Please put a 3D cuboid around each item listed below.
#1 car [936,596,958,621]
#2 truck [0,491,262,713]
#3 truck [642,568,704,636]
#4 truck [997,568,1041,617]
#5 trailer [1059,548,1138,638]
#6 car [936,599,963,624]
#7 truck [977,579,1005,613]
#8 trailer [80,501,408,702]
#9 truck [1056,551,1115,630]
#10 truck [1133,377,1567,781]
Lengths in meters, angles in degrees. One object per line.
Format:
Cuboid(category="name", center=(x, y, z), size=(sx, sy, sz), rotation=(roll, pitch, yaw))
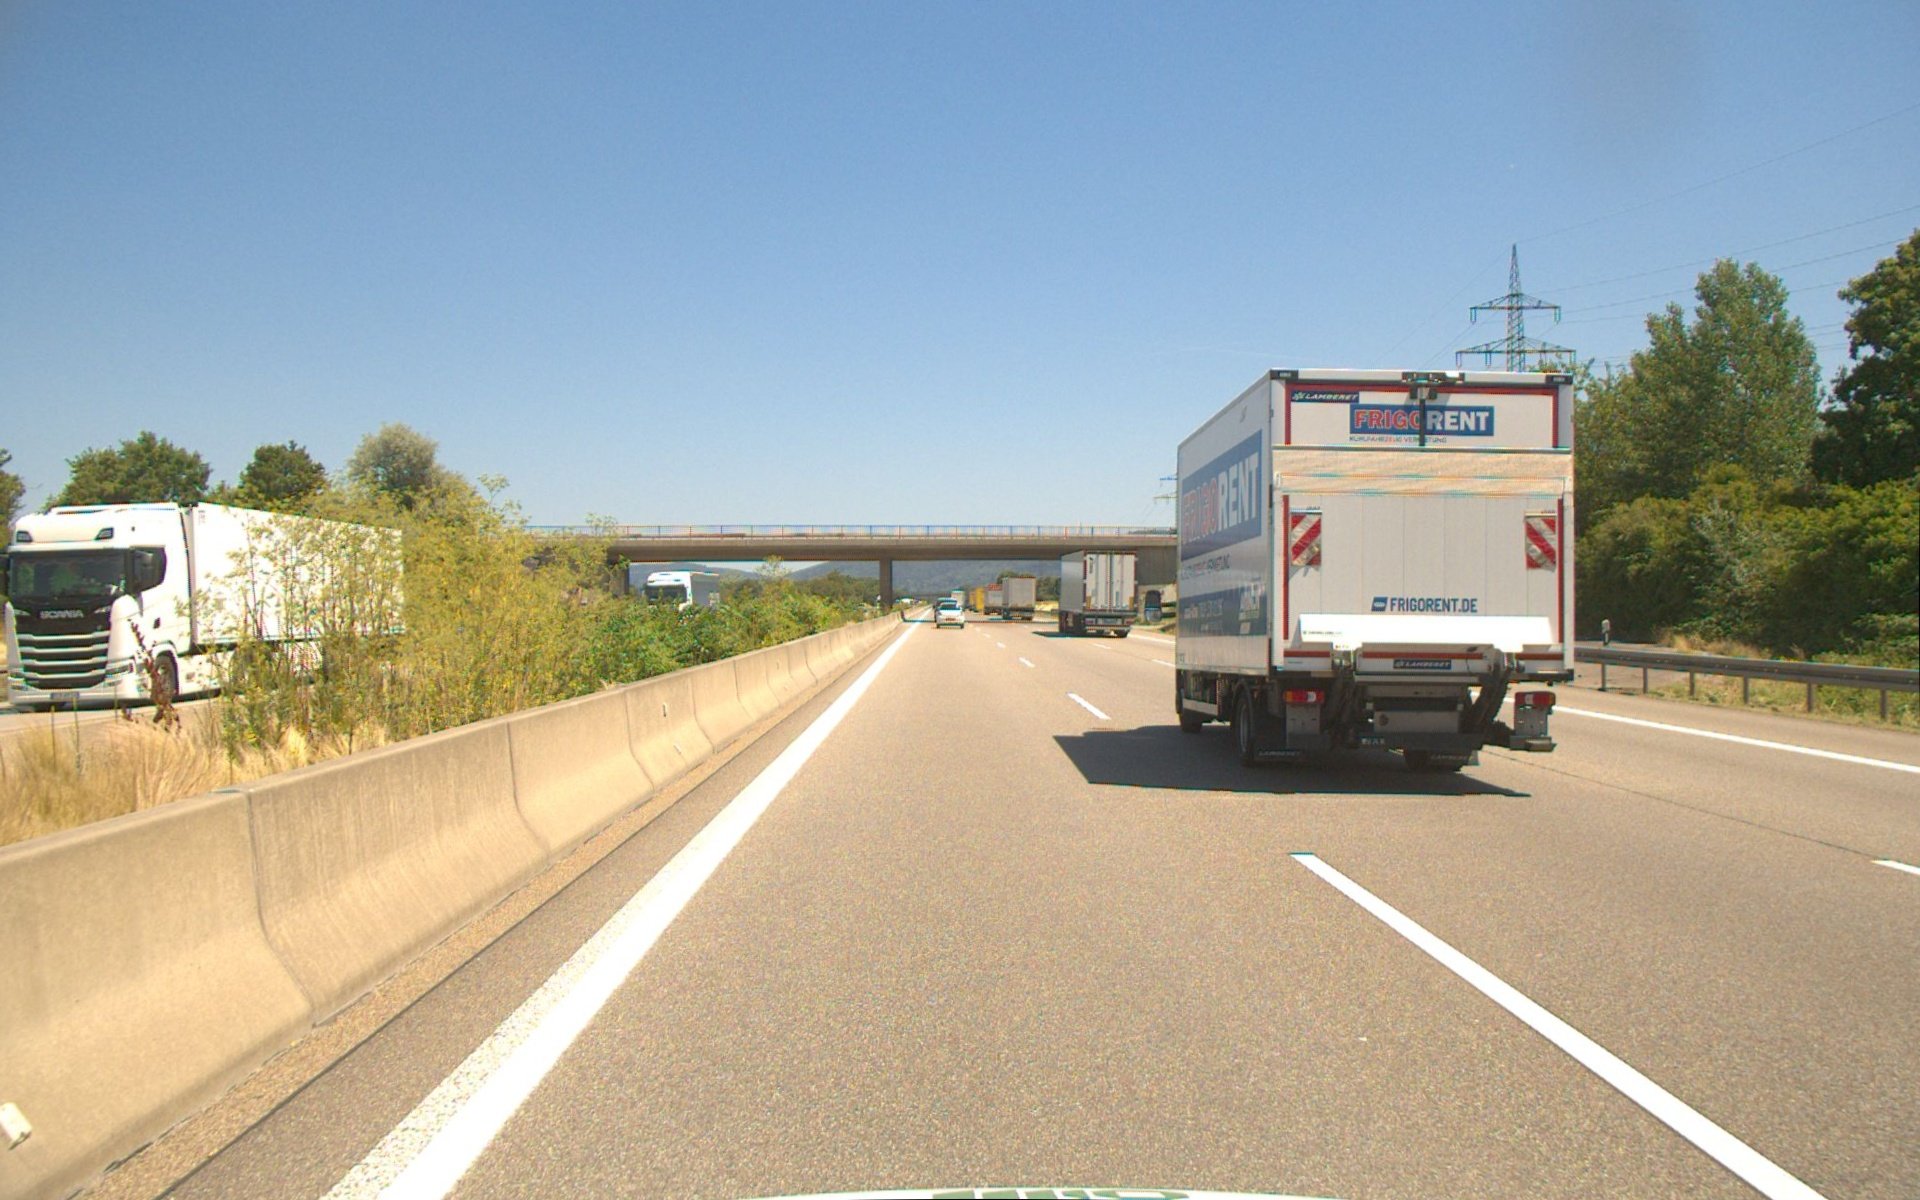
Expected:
Cuboid(category="car", center=(-1.019, 0.666, 130.863), size=(1.724, 1.883, 4.000), rotation=(0, 0, 0))
Cuboid(category="truck", center=(-16.845, 0.031, 33.898), size=(2.626, 4.085, 5.754), rotation=(-2, 0, -1))
Cuboid(category="truck", center=(-17.737, 0.133, 102.475), size=(2.777, 4.007, 5.823), rotation=(-2, 0, -1))
Cuboid(category="truck", center=(5.629, -0.679, 161.214), size=(3.449, 4.493, 14.588), rotation=(-1, 0, -1))
Cuboid(category="trailer", center=(6.943, -0.318, 84.760), size=(2.738, 4.237, 13.954), rotation=(0, 0, 0))
Cuboid(category="car", center=(-0.612, 0.686, 99.824), size=(1.574, 1.493, 4.000), rotation=(0, 0, 0))
Cuboid(category="truck", center=(4.249, -0.491, 229.649), size=(3.449, 4.493, 14.588), rotation=(-1, 0, -1))
Cuboid(category="trailer", center=(-17.009, 0.023, 40.779), size=(2.640, 4.085, 12.964), rotation=(-2, 0, -1))
Cuboid(category="truck", center=(6.896, -0.499, 91.585), size=(2.738, 4.237, 5.722), rotation=(0, 0, -1))
Cuboid(category="truck", center=(3.778, -0.171, 18.246), size=(2.726, 3.432, 8.125), rotation=(1, 0, -1))
